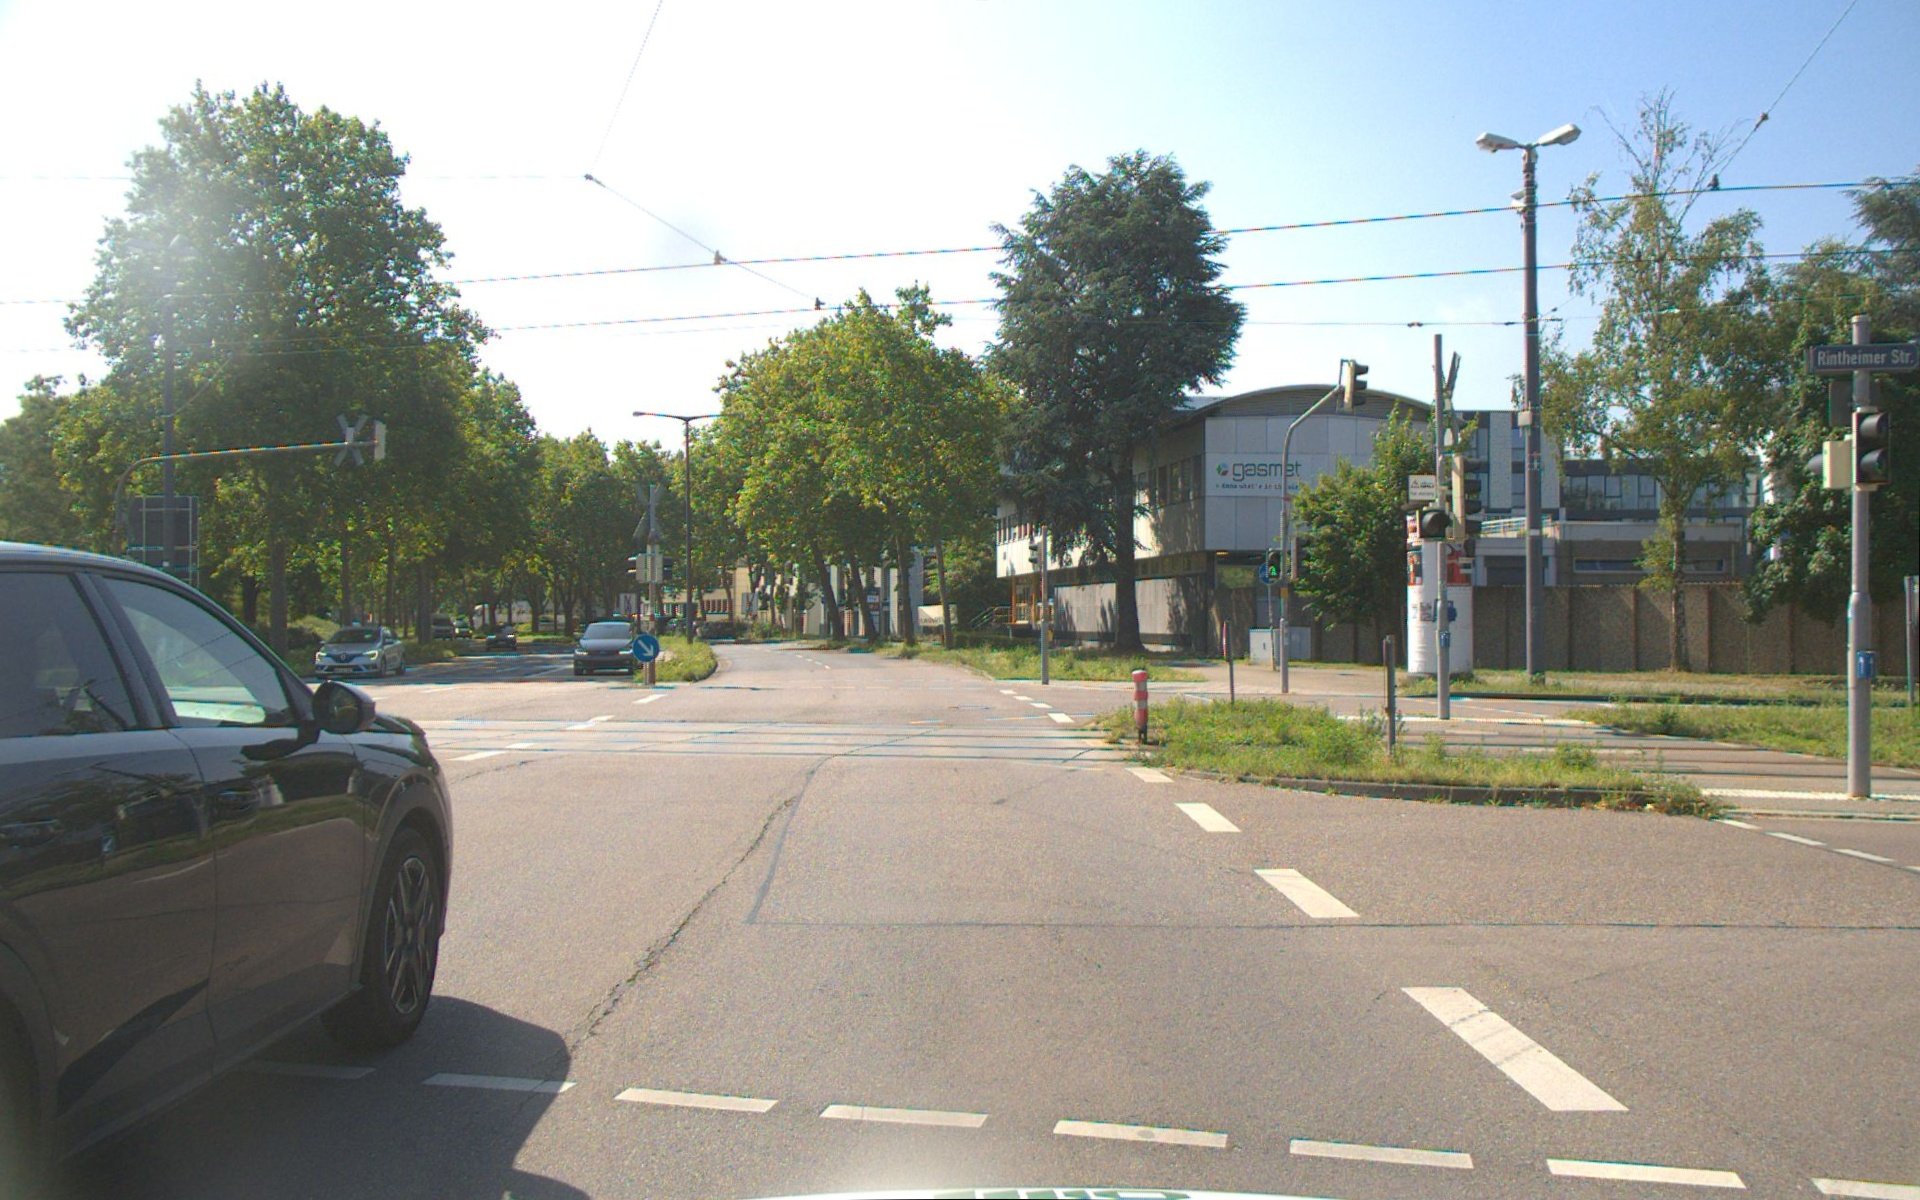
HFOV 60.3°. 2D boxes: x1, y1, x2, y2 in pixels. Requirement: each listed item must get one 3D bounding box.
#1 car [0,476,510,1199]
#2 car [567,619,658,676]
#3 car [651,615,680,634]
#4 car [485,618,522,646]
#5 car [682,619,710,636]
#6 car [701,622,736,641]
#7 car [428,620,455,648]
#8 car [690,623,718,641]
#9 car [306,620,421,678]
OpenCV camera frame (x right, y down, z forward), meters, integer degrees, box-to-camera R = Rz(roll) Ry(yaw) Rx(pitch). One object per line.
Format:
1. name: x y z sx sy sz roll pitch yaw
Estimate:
1. car: -2.702 0.627 4.226 1.834 1.726 4.435 1 -1 0
2. car: -9.809 1.315 46.931 1.659 1.534 4.129 0 -1 1
3. car: -28.194 2.334 158.390 1.684 1.699 4.499 0 0 -24
4. car: -28.287 1.959 102.506 1.677 1.617 4.423 -2 0 -9
5. car: -23.556 2.438 147.334 1.681 1.480 4.629 0 0 -19
6. car: -20.071 2.591 137.180 1.684 1.514 4.685 -1 0 -23
7. car: -50.643 3.338 161.557 2.031 2.659 7.170 -1 -1 -21
8. car: -21.985 2.729 142.179 1.681 1.514 4.078 0 0 -19
9. car: -16.989 1.363 47.354 1.659 1.534 4.660 0 -1 -1
